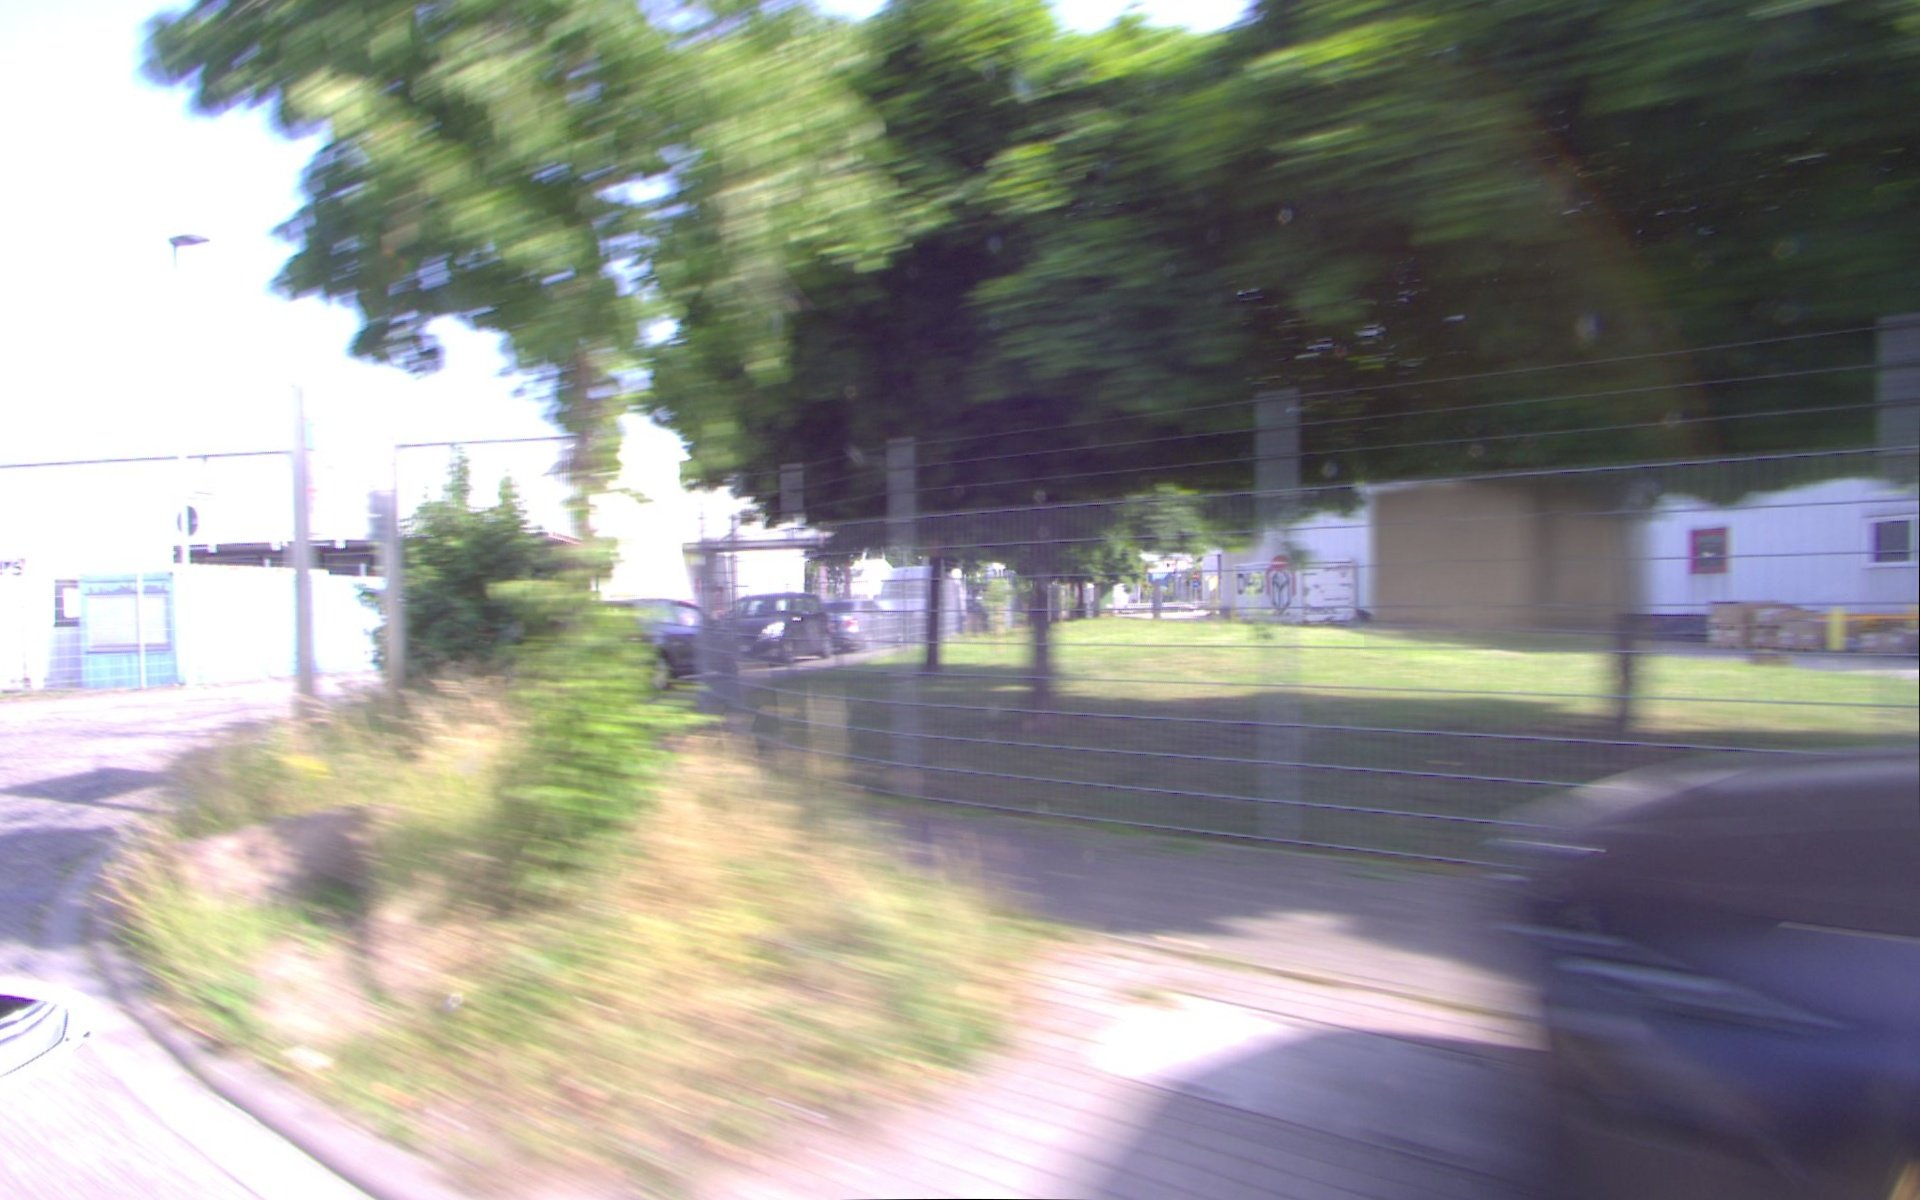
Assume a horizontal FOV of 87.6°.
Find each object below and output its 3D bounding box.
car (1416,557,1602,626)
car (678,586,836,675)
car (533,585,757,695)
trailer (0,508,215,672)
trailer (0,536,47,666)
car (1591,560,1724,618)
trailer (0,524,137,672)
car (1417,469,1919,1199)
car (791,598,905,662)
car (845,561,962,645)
[{"bbox_3d":[22.001,-0.344,40.250,6.573,2.551,2.173,-1,0,-9],"label":"car"},{"bbox_3d":[-4.262,0.623,21.803,1.842,1.646,4.266,-3,-1,11],"label":"car"},{"bbox_3d":[-5.056,0.609,16.680,1.696,1.543,3.957,-3,-1,14],"label":"car"},{"bbox_3d":[-24.145,-0.169,25.506,2.724,3.944,8.559,-3,-1,11],"label":"trailer"},{"bbox_3d":[-30.009,0.000,26.544,2.737,3.809,8.759,-1,-1,9],"label":"trailer"},{"bbox_3d":[29.364,-0.464,42.358,1.894,2.320,4.845,-1,1,-6],"label":"car"},{"bbox_3d":[-27.000,-0.030,26.266,2.723,3.946,8.557,-1,0,10],"label":"trailer"},{"bbox_3d":[3.359,0.563,1.033,5.046,1.595,1.876,-1,1,33],"label":"car"},{"bbox_3d":[-2.976,0.781,27.676,1.696,1.537,4.488,-3,-1,13],"label":"car"},{"bbox_3d":[-1.804,0.129,34.963,2.167,2.515,6.843,-3,-1,13],"label":"car"}]
